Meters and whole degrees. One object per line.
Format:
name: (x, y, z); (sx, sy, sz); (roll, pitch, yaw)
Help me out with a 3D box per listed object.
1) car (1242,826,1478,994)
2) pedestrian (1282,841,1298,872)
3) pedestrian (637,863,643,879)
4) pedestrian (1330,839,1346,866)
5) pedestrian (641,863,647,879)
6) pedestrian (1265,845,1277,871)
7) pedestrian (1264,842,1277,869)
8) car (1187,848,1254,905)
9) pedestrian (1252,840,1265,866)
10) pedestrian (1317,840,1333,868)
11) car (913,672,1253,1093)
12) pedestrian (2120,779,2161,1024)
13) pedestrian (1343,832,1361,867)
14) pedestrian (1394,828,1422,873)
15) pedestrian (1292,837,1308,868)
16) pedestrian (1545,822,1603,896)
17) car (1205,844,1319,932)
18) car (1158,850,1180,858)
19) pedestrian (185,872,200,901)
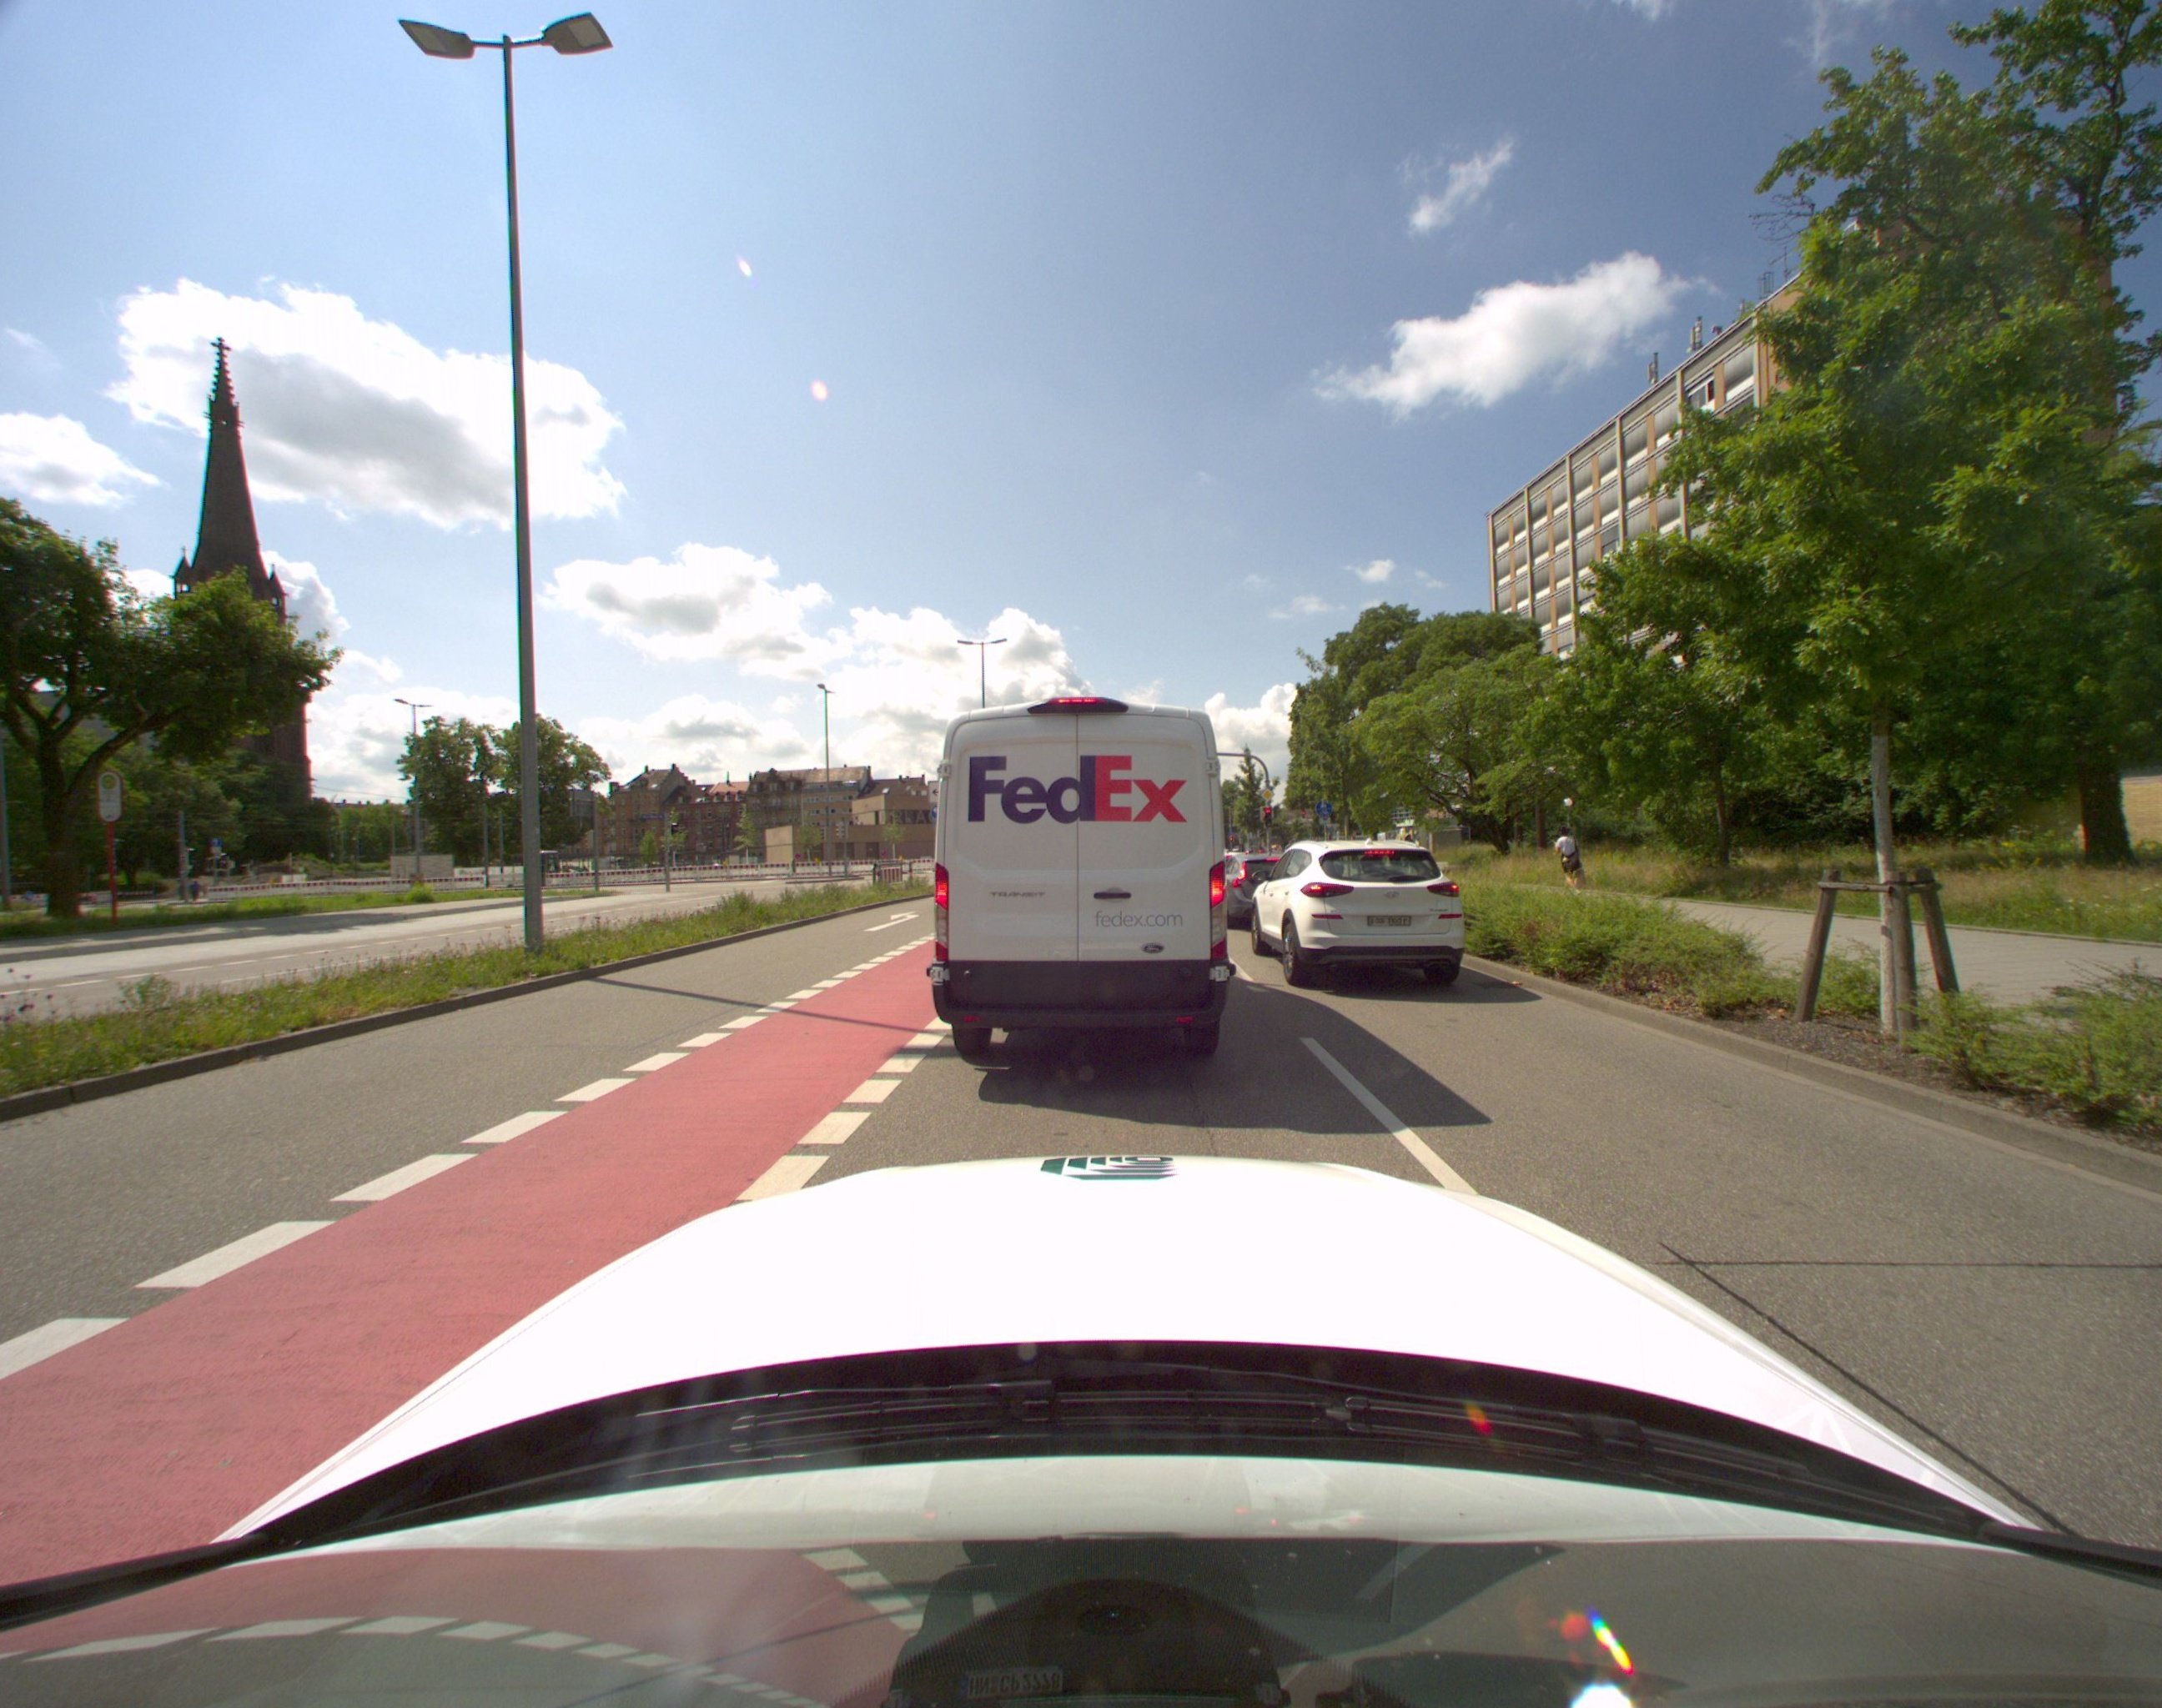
car: (3.262, 0.567, 10.376); (1.807, 1.678, 3.978); (-2, 0, 3)
pedestrian: (12.542, 0.135, 48.838); (0.755, 1.849, 0.817); (-2, 0, 3)
pedestrian: (-46.494, 1.753, 85.925); (0.420, 1.652, 0.420); (-1, -1, 36)
pedestrian: (17.652, -0.094, 56.000); (0.758, 1.849, 0.814); (-2, 0, -6)
pedestrian: (-45.796, 1.744, 85.411); (0.420, 1.652, 0.420); (-1, -1, 36)
pedestrian: (13.728, 0.312, 58.867); (0.753, 1.849, 0.820); (-2, 0, 16)
pedestrian: (13.165, 0.101, 56.523); (0.752, 1.849, 0.820); (-2, 0, 20)
car: (3.917, 0.597, 23.342); (1.493, 1.464, 3.477); (-2, 0, 3)
pedestrian: (13.033, -0.057, 59.703); (0.810, 1.849, 0.762); (-2, 0, 5)
pedestrian: (16.703, 0.005, 55.794); (0.758, 1.849, 0.814); (-2, 0, -8)
car: (0.137, 0.173, 7.322); (2.064, 2.581, 4.432); (-2, 0, 3)
pedestrian: (7.720, 0.319, 5.335); (0.753, 1.684, 0.819); (-2, 0, 13)
pedestrian: (14.450, -0.244, 43.429); (0.755, 1.789, 0.818); (-2, 0, 7)
pedestrian: (12.342, -0.120, 30.763); (0.755, 1.655, 0.817); (-2, 0, 5)
pedestrian: (13.334, -0.103, 49.641); (0.755, 1.849, 0.817); (-2, 0, 5)
pedestrian: (10.761, 0.095, 17.791); (0.755, 1.557, 0.817); (-2, 0, 3)
car: (3.598, 0.609, 16.781); (1.684, 1.549, 3.724); (-2, 0, 3)
car: (17.556, 0.002, 161.902); (4.217, 1.498, 1.741); (-2, 0, 1)
pedestrian: (-63.036, 2.295, 57.783); (0.636, 2.013, 0.640); (-2, 0, -44)
